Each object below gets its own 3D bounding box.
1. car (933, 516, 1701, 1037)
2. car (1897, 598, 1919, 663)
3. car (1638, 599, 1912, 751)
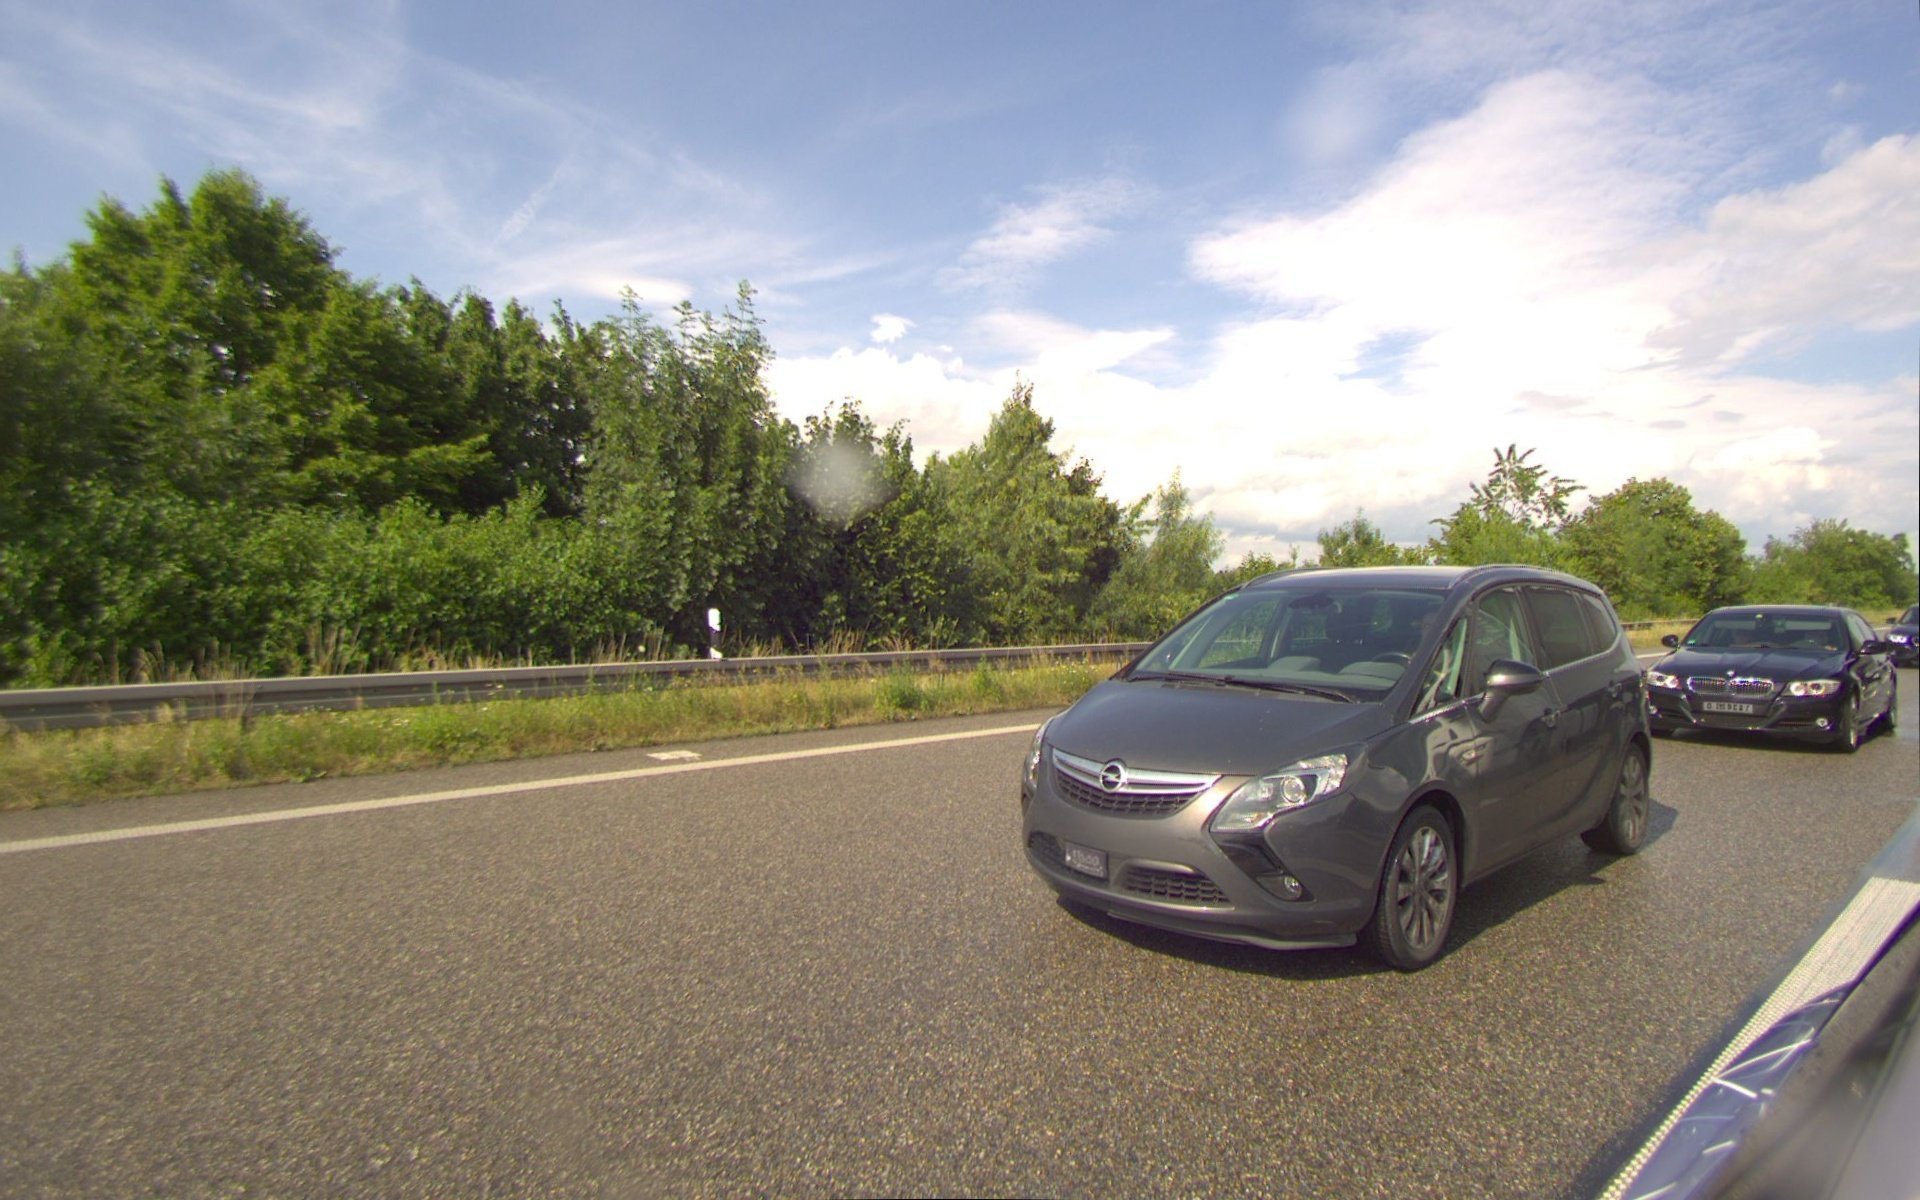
[{"bbox_3d":[2.231,0.543,5.446,4.652,1.652,1.857,0,0,-41],"label":"car"},{"bbox_3d":[22.284,0.653,22.691,1.740,1.382,3.935,0,1,45],"label":"car"},{"bbox_3d":[9.044,0.685,11.128,3.816,1.371,1.721,0,0,-41],"label":"car"}]
